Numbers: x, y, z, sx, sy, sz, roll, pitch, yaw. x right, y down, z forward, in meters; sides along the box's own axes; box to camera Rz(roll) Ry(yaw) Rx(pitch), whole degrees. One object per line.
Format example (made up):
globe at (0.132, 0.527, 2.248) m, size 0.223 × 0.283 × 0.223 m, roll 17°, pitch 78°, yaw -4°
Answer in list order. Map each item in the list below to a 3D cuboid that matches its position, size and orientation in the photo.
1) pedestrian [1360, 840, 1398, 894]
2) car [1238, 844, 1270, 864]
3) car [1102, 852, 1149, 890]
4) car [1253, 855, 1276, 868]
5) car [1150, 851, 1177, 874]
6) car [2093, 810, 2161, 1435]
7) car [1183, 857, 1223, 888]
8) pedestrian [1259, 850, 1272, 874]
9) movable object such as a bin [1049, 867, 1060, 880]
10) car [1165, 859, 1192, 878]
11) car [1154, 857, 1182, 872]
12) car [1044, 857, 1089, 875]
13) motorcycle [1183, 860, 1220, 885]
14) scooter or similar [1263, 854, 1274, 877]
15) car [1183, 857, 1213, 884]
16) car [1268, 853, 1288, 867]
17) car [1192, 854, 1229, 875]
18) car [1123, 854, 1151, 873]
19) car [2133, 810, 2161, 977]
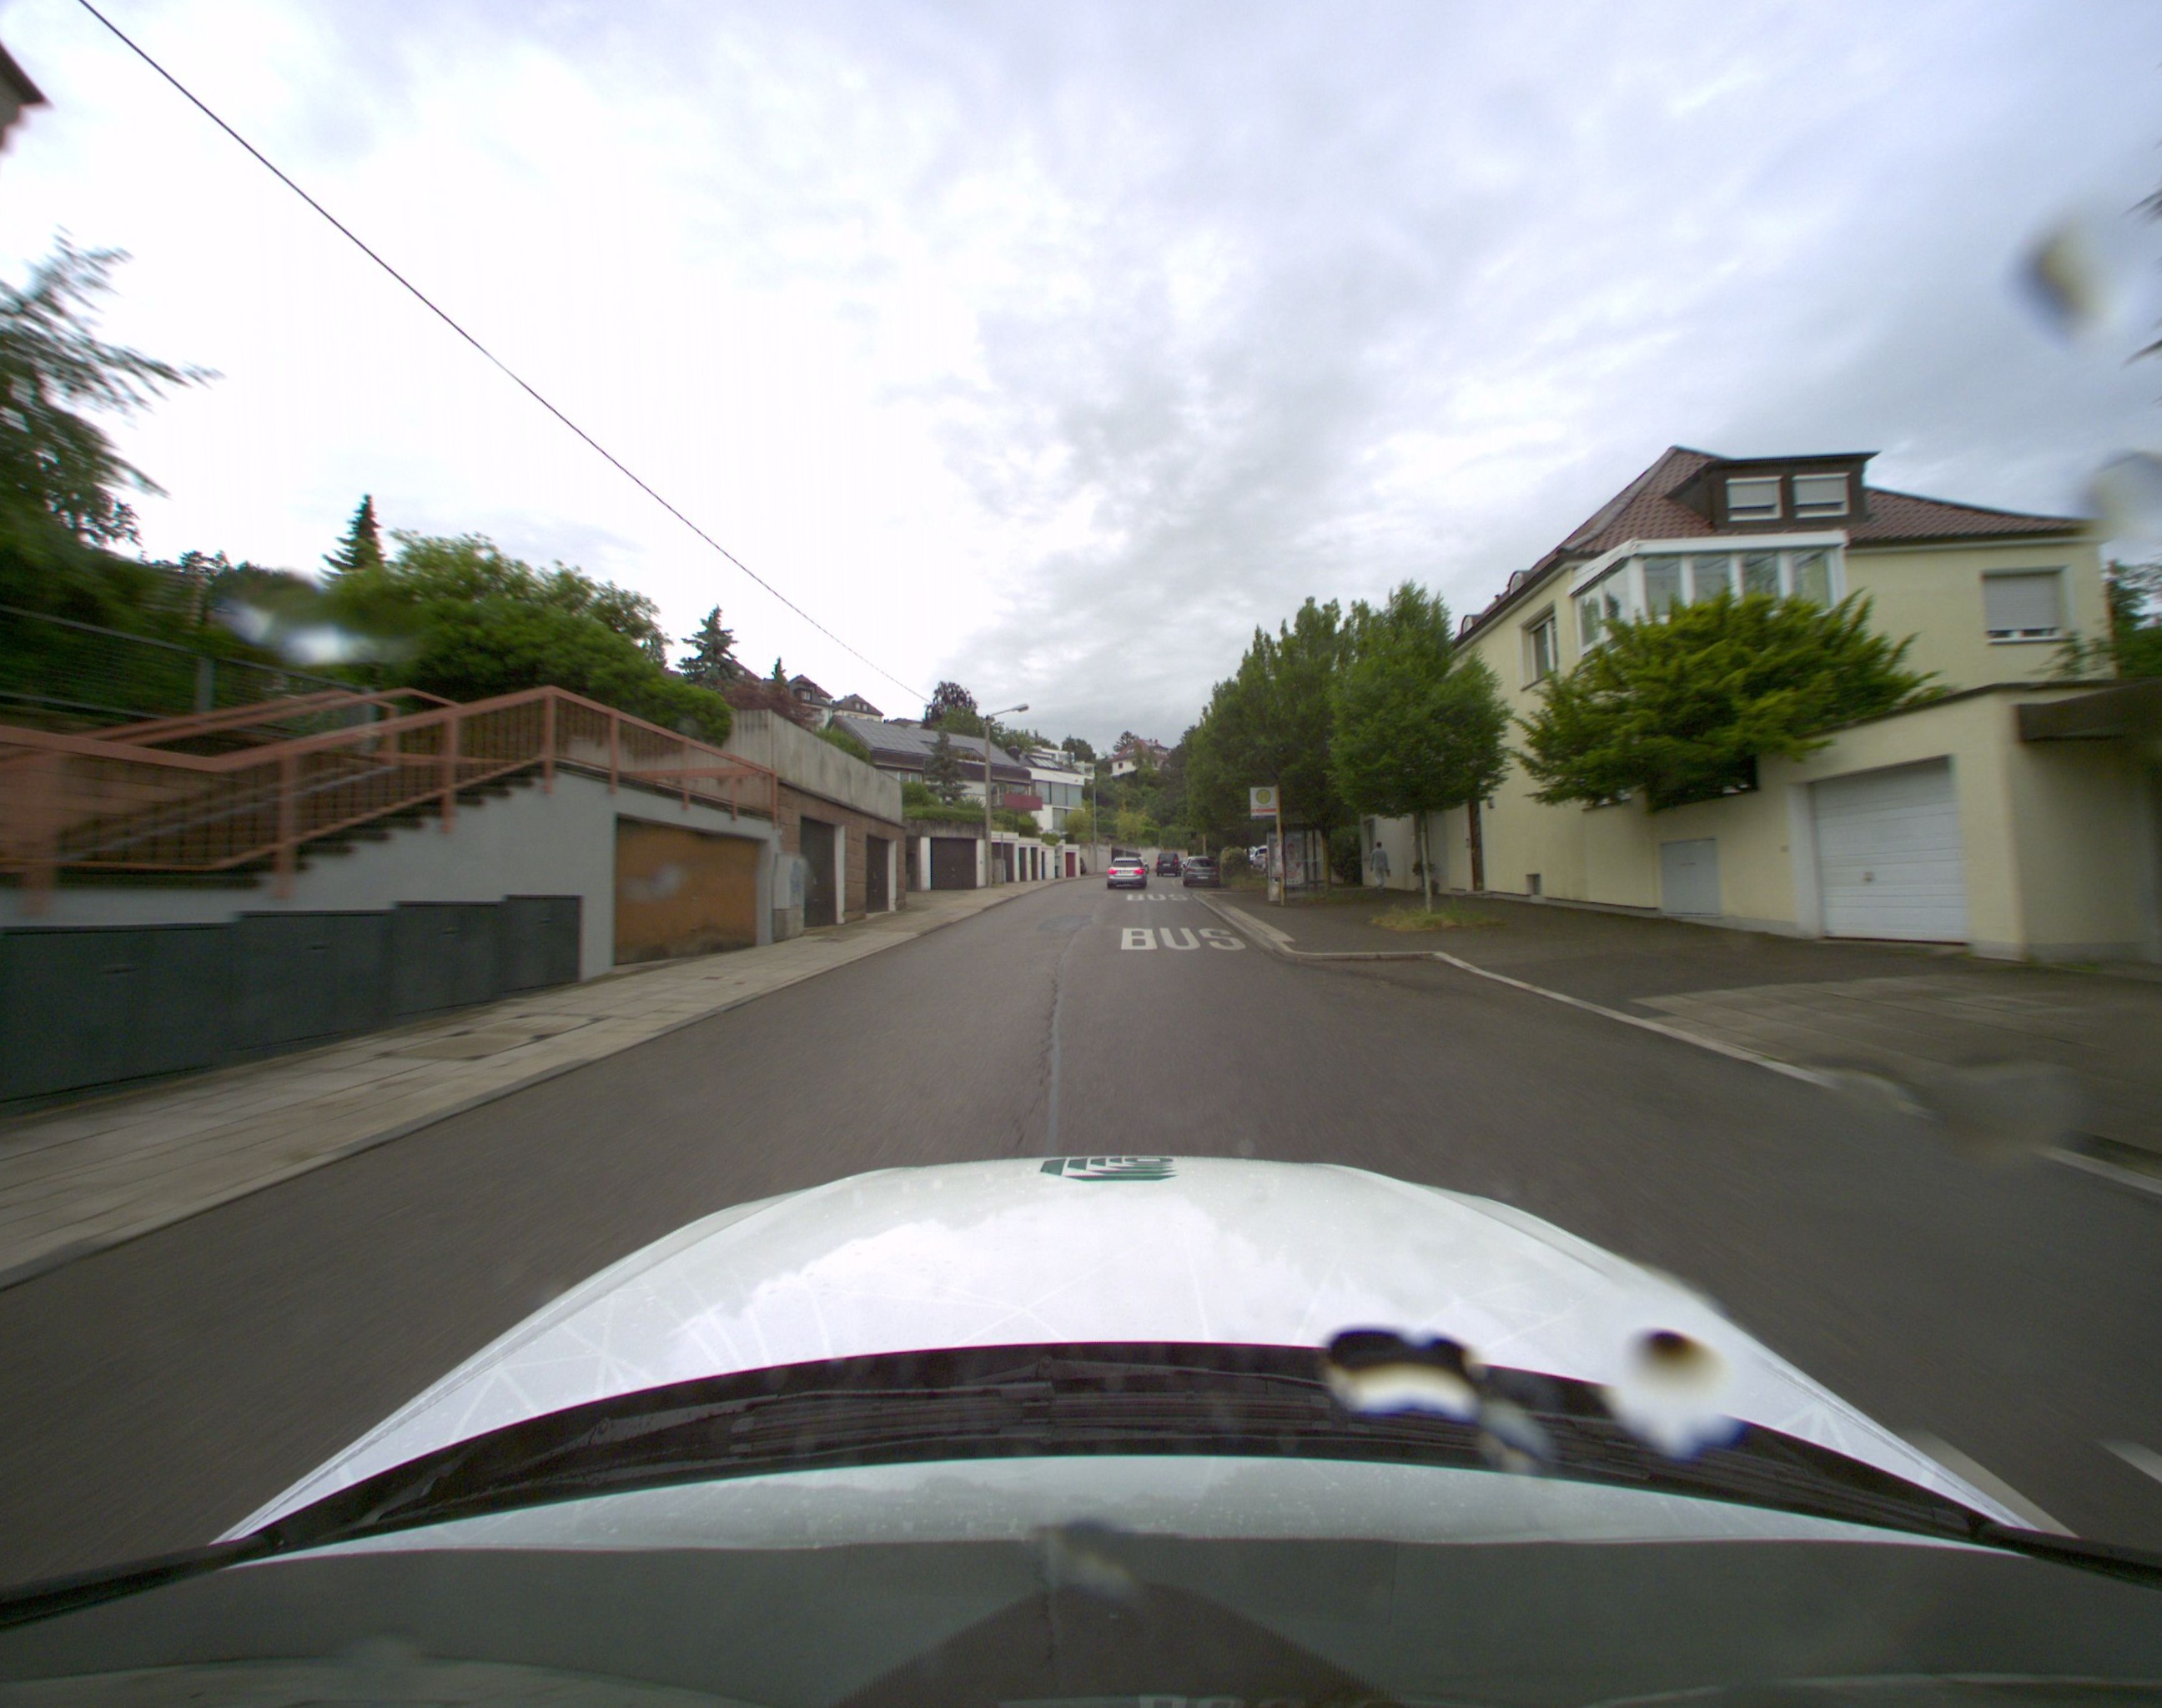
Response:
pedestrian at (9.937, 0.422, 27.223) m, size 0.828 × 1.686 × 1.046 m, roll -5°, pitch 0°, yaw 5°
car at (24.175, -0.045, 113.599) m, size 2.074 × 2.550 × 6.137 m, roll -3°, pitch 0°, yaw 35°
car at (2.076, 0.787, 39.061) m, size 2.018 × 1.708 × 4.216 m, roll -1°, pitch 0°, yaw 1°
car at (21.183, 0.862, 94.083) m, size 1.653 × 1.471 × 3.732 m, roll 0°, pitch 0°, yaw 27°
car at (6.459, 0.658, 63.399) m, size 1.984 × 1.708 × 4.006 m, roll -1°, pitch 0°, yaw 6°
car at (3.565, 0.693, 0.160) m, size 1.722 × 1.607 × 4.122 m, roll 0°, pitch 0°, yaw 2°
car at (6.117, 0.912, 41.222) m, size 1.868 × 1.416 × 4.476 m, roll -1°, pitch 0°, yaw 6°
pedestrian at (13.550, 0.580, 59.871) m, size 0.755 × 1.720 × 0.905 m, roll -4°, pitch -1°, yaw 12°
movable object such as a bin at (-1.946, 1.420, 60.158) m, size 0.537 × 0.963 × 0.650 m, roll -1°, pitch 0°, yaw 43°
car at (9.305, 1.321, 77.585) m, size 1.979 × 1.708 × 4.016 m, roll -1°, pitch 0°, yaw 15°
car at (9.074, 1.113, 84.717) m, size 1.816 × 1.440 × 4.061 m, roll -3°, pitch -1°, yaw 21°
car at (-1.294, 1.053, 71.981) m, size 1.778 × 1.478 × 3.883 m, roll -1°, pitch 1°, yaw -45°
motorcycle at (6.578, 0.992, 44.460) m, size 1.906 × 1.330 × 0.788 m, roll 0°, pitch 0°, yaw 2°
scooter or similar at (10.653, 0.637, 46.300) m, size 0.411 × 1.245 × 1.177 m, roll -2°, pitch 0°, yaw 7°
car at (6.760, 0.929, 47.288) m, size 1.647 × 1.489 × 4.009 m, roll 0°, pitch 0°, yaw 8°
car at (24.340, 0.723, 100.367) m, size 1.611 × 1.562 × 3.041 m, roll -1°, pitch 0°, yaw 29°
car at (10.958, 0.863, 68.707) m, size 2.037 × 1.656 × 5.262 m, roll -2°, pitch 0°, yaw 20°
car at (5.055, 0.846, 73.304) m, size 1.614 × 1.516 × 3.850 m, roll -2°, pitch 0°, yaw 18°
car at (11.686, 0.327, 6.391) m, size 4.278 × 1.480 × 1.833 m, roll -1°, pitch 0°, yaw 4°
